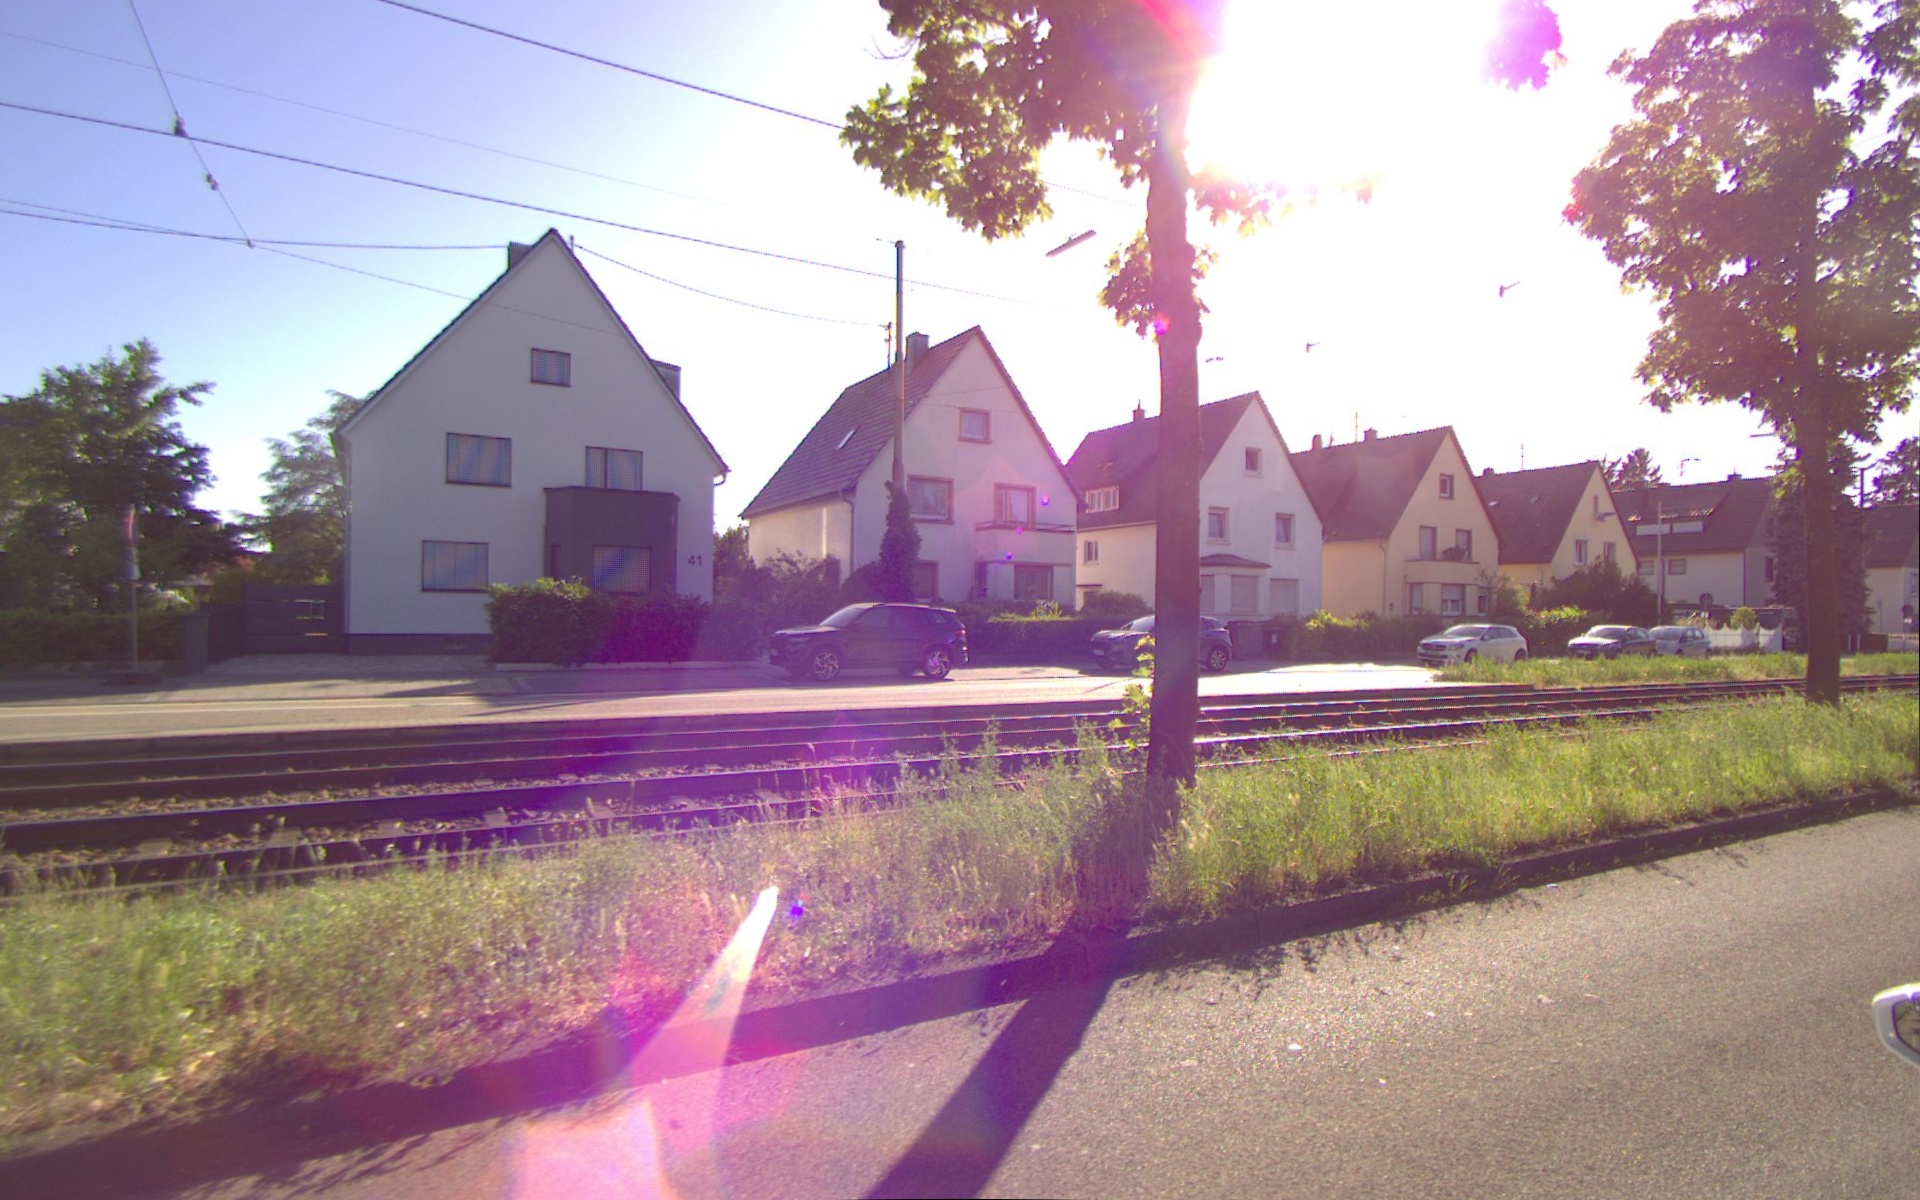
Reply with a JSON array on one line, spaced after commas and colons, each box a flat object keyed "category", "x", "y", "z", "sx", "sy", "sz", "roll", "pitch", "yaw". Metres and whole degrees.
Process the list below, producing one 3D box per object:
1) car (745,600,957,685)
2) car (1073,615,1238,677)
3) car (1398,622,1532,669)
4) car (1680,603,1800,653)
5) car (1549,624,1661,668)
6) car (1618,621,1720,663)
[{"category": "car", "x": -2.438, "y": 0.937, "z": 22.778, "sx": 4.340, "sy": 1.736, "sz": 1.983, "roll": 2, "pitch": 0, "yaw": -31}, {"category": "car", "x": 5.353, "y": 1.233, "z": 27.433, "sx": 4.207, "sy": 1.515, "sz": 1.916, "roll": 2, "pitch": 0, "yaw": -31}, {"category": "car", "x": 17.294, "y": 1.534, "z": 34.373, "sx": 4.356, "sy": 1.445, "sz": 1.985, "roll": 2, "pitch": 0, "yaw": -29}, {"category": "car", "x": 44.158, "y": 1.536, "z": 56.997, "sx": 2.077, "sy": 2.660, "sz": 5.005, "roll": 0, "pitch": 0, "yaw": -30}, {"category": "car", "x": 25.029, "y": 1.777, "z": 38.951, "sx": 4.080, "sy": 1.469, "sz": 1.983, "roll": 2, "pitch": 2, "yaw": -31}, {"category": "car", "x": 29.172, "y": 1.713, "z": 41.323, "sx": 4.010, "sy": 1.574, "sz": 1.937, "roll": 2, "pitch": 0, "yaw": -31}]
